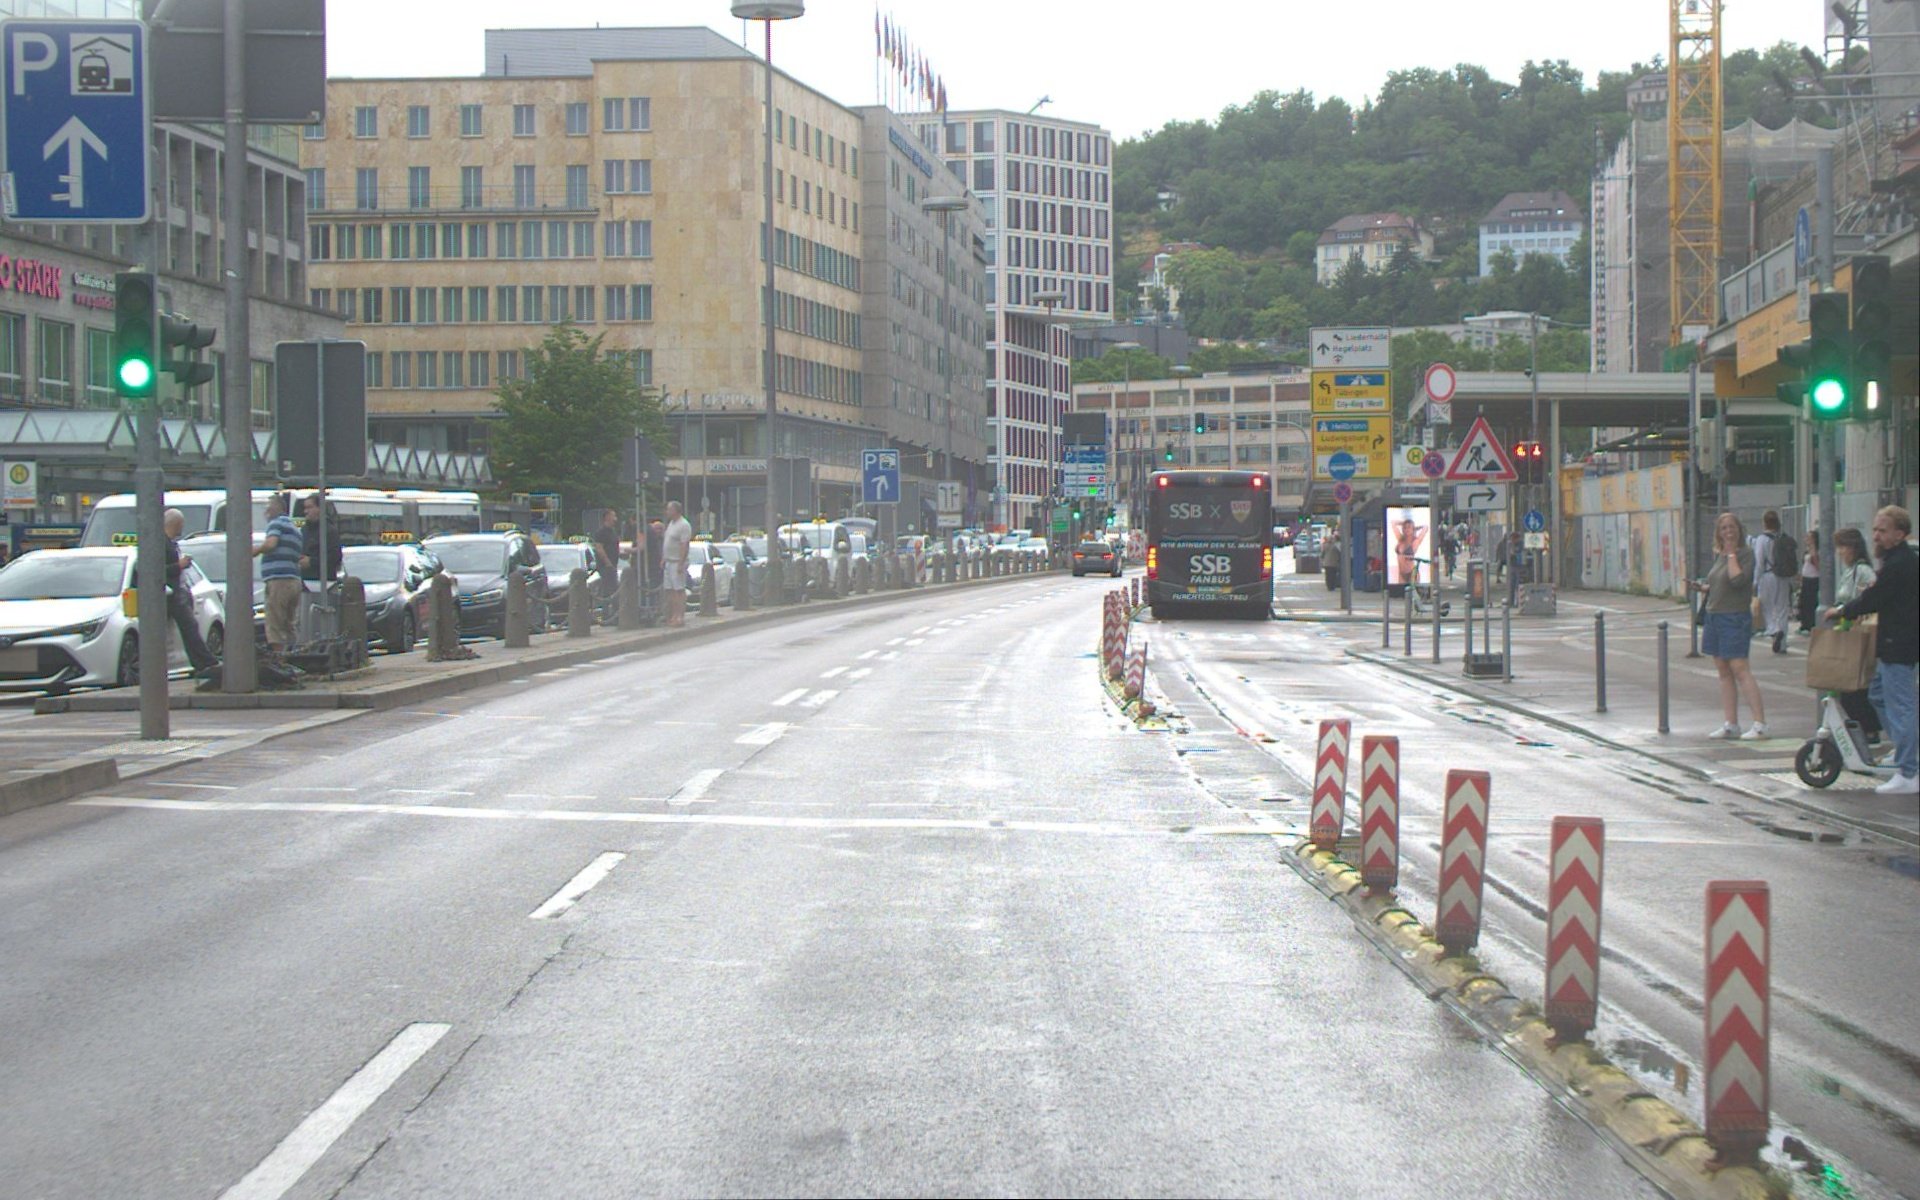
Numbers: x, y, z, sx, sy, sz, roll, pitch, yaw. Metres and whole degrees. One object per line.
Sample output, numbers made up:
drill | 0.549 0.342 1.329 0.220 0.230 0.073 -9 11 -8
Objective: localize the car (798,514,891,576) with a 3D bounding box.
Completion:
car | -3.268 -1.587 97.848 1.994 1.716 4.781 0 1 6

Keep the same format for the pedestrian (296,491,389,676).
pedestrian | -6.068 -0.167 33.797 0.781 1.769 0.607 -3 1 -7

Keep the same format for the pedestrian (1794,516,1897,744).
pedestrian | 6.564 0.212 25.500 0.558 1.635 0.752 -3 1 5

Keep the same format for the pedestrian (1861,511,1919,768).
pedestrian | 6.643 0.260 23.901 0.558 1.746 0.711 -3 1 5

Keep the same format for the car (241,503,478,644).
car | -7.708 -0.369 44.567 1.930 1.685 4.682 -2 1 4

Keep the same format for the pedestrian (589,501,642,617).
pedestrian | -5.253 -0.634 52.444 0.698 1.748 0.711 0 1 4

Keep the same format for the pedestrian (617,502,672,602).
pedestrian | -5.161 -0.796 56.239 0.723 1.601 0.996 1 2 4

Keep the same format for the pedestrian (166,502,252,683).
pedestrian | -7.207 -0.075 32.992 0.651 1.705 0.593 1 2 3

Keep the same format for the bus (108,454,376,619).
bus | -15.594 -1.440 75.617 2.878 3.365 10.573 0 1 5

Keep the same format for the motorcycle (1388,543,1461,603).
motorcycle | 9.188 -0.529 67.979 0.586 1.162 1.613 2 1 44

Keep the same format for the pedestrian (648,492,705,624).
pedestrian | -4.327 -0.647 52.495 0.723 2.001 0.772 1 2 4

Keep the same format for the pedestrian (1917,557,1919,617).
pedestrian | 6.669 0.431 22.575 0.558 1.444 0.711 -3 1 5

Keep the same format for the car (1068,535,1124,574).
car | 5.564 -1.854 140.108 1.994 1.546 3.999 0 1 6

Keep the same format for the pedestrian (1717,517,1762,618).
pedestrian | 14.515 -0.605 64.057 0.644 1.841 0.659 -3 1 4

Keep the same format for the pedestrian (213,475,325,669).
pedestrian | -6.476 -0.265 32.226 0.559 1.769 0.750 -2 2 38

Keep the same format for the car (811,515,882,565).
car | -3.625 -1.926 110.547 1.993 1.546 4.000 -1 1 2

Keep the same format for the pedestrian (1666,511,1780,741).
pedestrian | 5.993 0.194 27.017 0.558 1.753 0.752 -3 1 -9

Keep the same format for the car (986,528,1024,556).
car | 2.780 -3.600 212.731 1.962 1.559 4.835 -2 2 5

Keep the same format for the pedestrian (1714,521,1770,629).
pedestrian | 11.459 -0.367 50.375 0.651 1.534 0.665 -3 1 5

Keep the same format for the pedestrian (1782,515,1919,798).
pedestrian | 5.666 0.334 21.529 0.580 1.735 0.822 -1 2 -38

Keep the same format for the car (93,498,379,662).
car | -8.085 -0.257 38.844 1.930 1.685 4.682 -2 1 4

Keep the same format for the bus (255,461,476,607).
bus | -14.754 -1.692 86.267 2.878 3.448 10.573 0 1 5

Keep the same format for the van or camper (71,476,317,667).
van or camper | -10.942 -0.454 49.516 1.994 2.505 5.370 -3 1 3

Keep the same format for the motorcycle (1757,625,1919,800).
motorcycle | 5.676 0.690 21.526 0.584 1.018 1.239 -1 2 -38

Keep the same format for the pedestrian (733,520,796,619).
pedestrian | -3.468 -0.543 60.968 1.050 1.762 0.616 0 1 4

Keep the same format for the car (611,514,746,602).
car | -5.675 -0.869 69.824 1.976 1.653 5.192 -2 1 3

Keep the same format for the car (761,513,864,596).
car | -3.934 -1.256 92.528 1.994 2.171 5.543 0 1 5

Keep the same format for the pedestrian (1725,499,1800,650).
pedestrian | 10.091 -0.328 43.222 0.723 1.841 0.810 -3 1 4

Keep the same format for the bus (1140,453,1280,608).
bus | 5.413 -1.487 73.833 2.756 3.058 9.079 1 1 5

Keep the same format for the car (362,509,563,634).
car | -7.181 -0.438 50.128 1.930 1.685 4.682 -2 1 4

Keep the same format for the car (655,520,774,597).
car | -5.351 -0.930 75.605 1.930 1.571 5.052 -2 1 3

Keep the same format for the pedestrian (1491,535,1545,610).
pedestrian | 12.276 -0.614 75.668 0.908 1.629 0.827 1 1 32

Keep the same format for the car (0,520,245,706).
car | -8.440 0.059 32.955 2.015 1.615 4.842 0 2 2

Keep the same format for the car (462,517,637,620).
car | -6.769 -0.551 57.205 1.930 1.571 5.260 -2 1 4
